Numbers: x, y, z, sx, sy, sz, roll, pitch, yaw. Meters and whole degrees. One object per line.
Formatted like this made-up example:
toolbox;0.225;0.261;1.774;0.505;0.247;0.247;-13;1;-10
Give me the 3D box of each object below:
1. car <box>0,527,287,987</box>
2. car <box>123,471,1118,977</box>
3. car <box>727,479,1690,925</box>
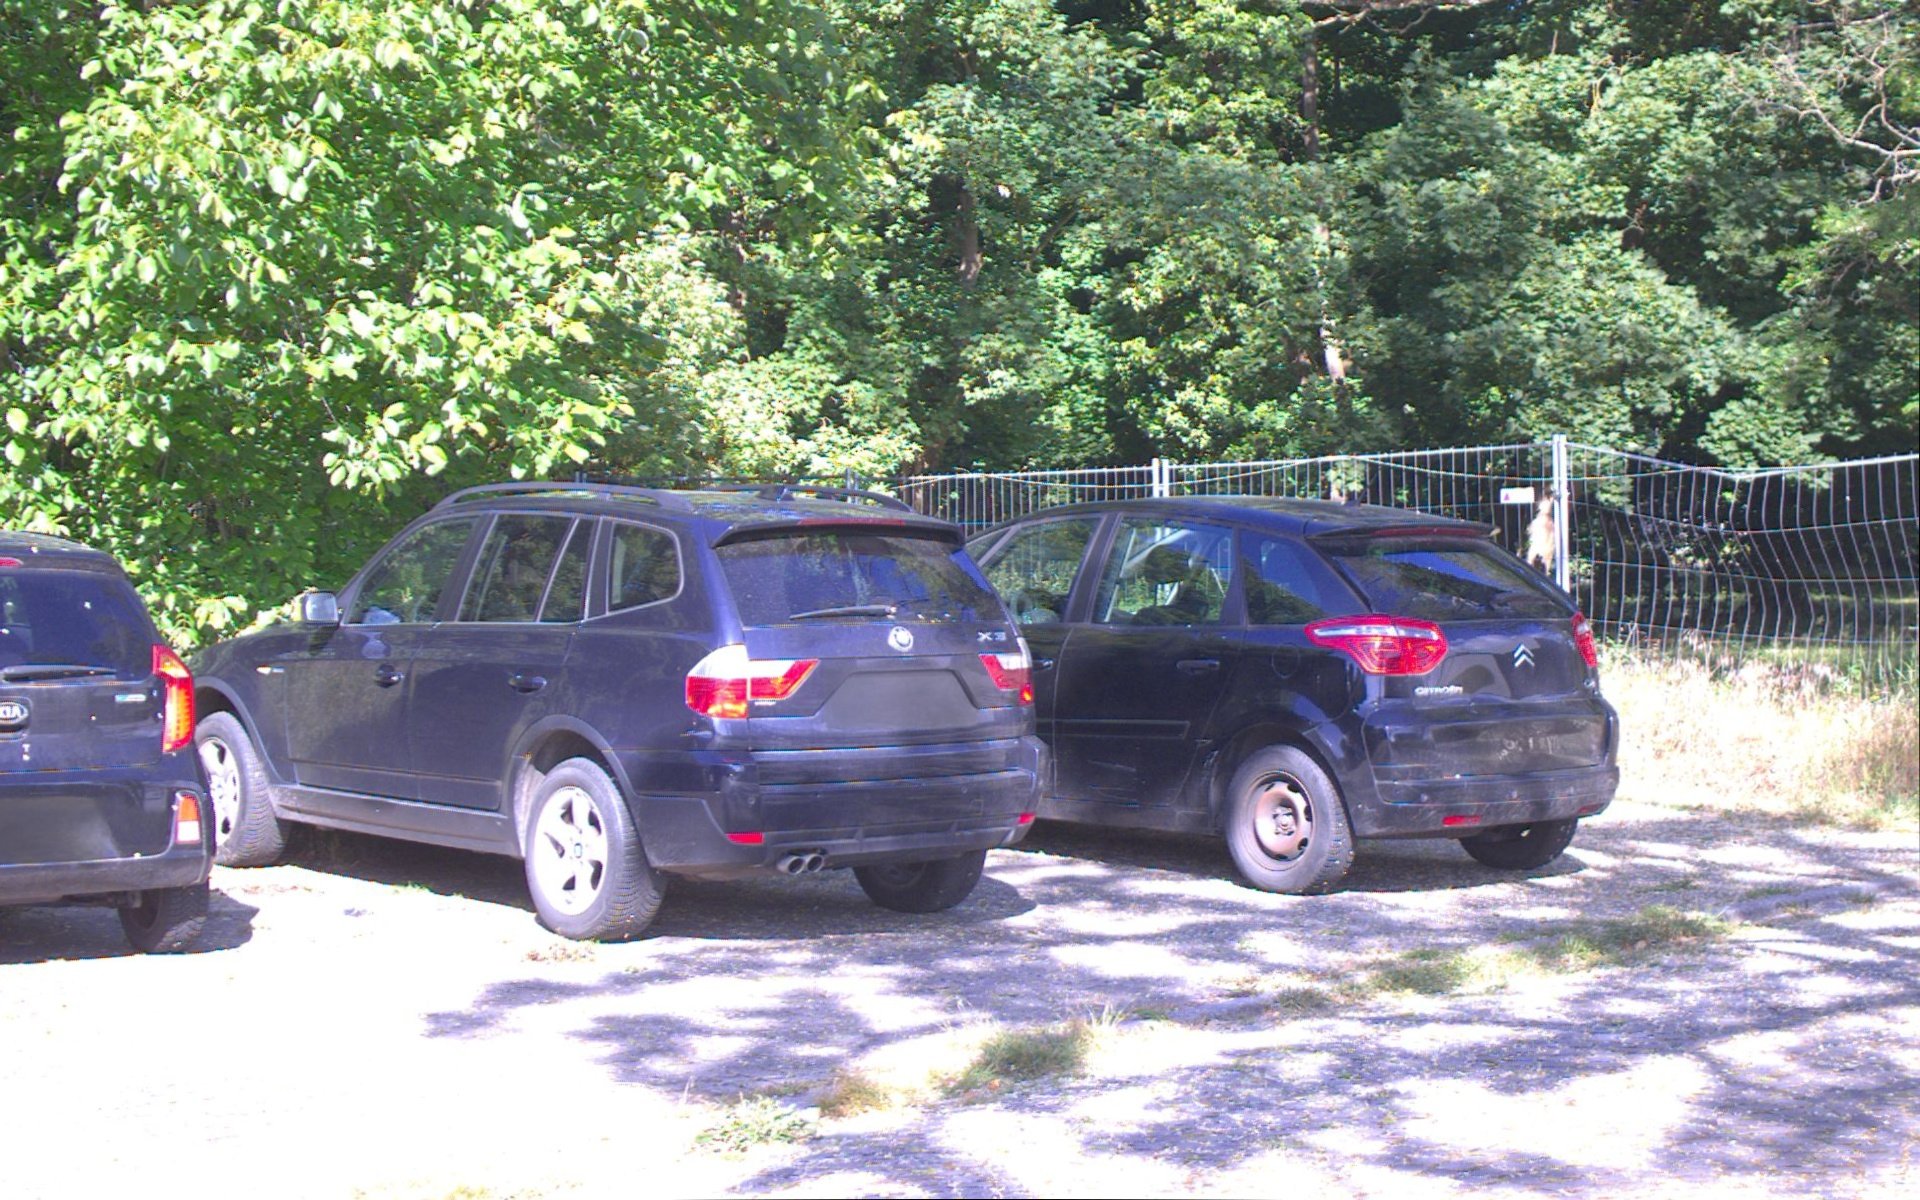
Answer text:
car;-4.021;0.464;12.674;1.739;1.446;3.725;0;2;-33
car;-1.530;0.359;13.967;1.875;1.625;4.272;0;3;-41
car;1.009;0.332;15.824;1.825;1.583;4.271;-2;5;-43
